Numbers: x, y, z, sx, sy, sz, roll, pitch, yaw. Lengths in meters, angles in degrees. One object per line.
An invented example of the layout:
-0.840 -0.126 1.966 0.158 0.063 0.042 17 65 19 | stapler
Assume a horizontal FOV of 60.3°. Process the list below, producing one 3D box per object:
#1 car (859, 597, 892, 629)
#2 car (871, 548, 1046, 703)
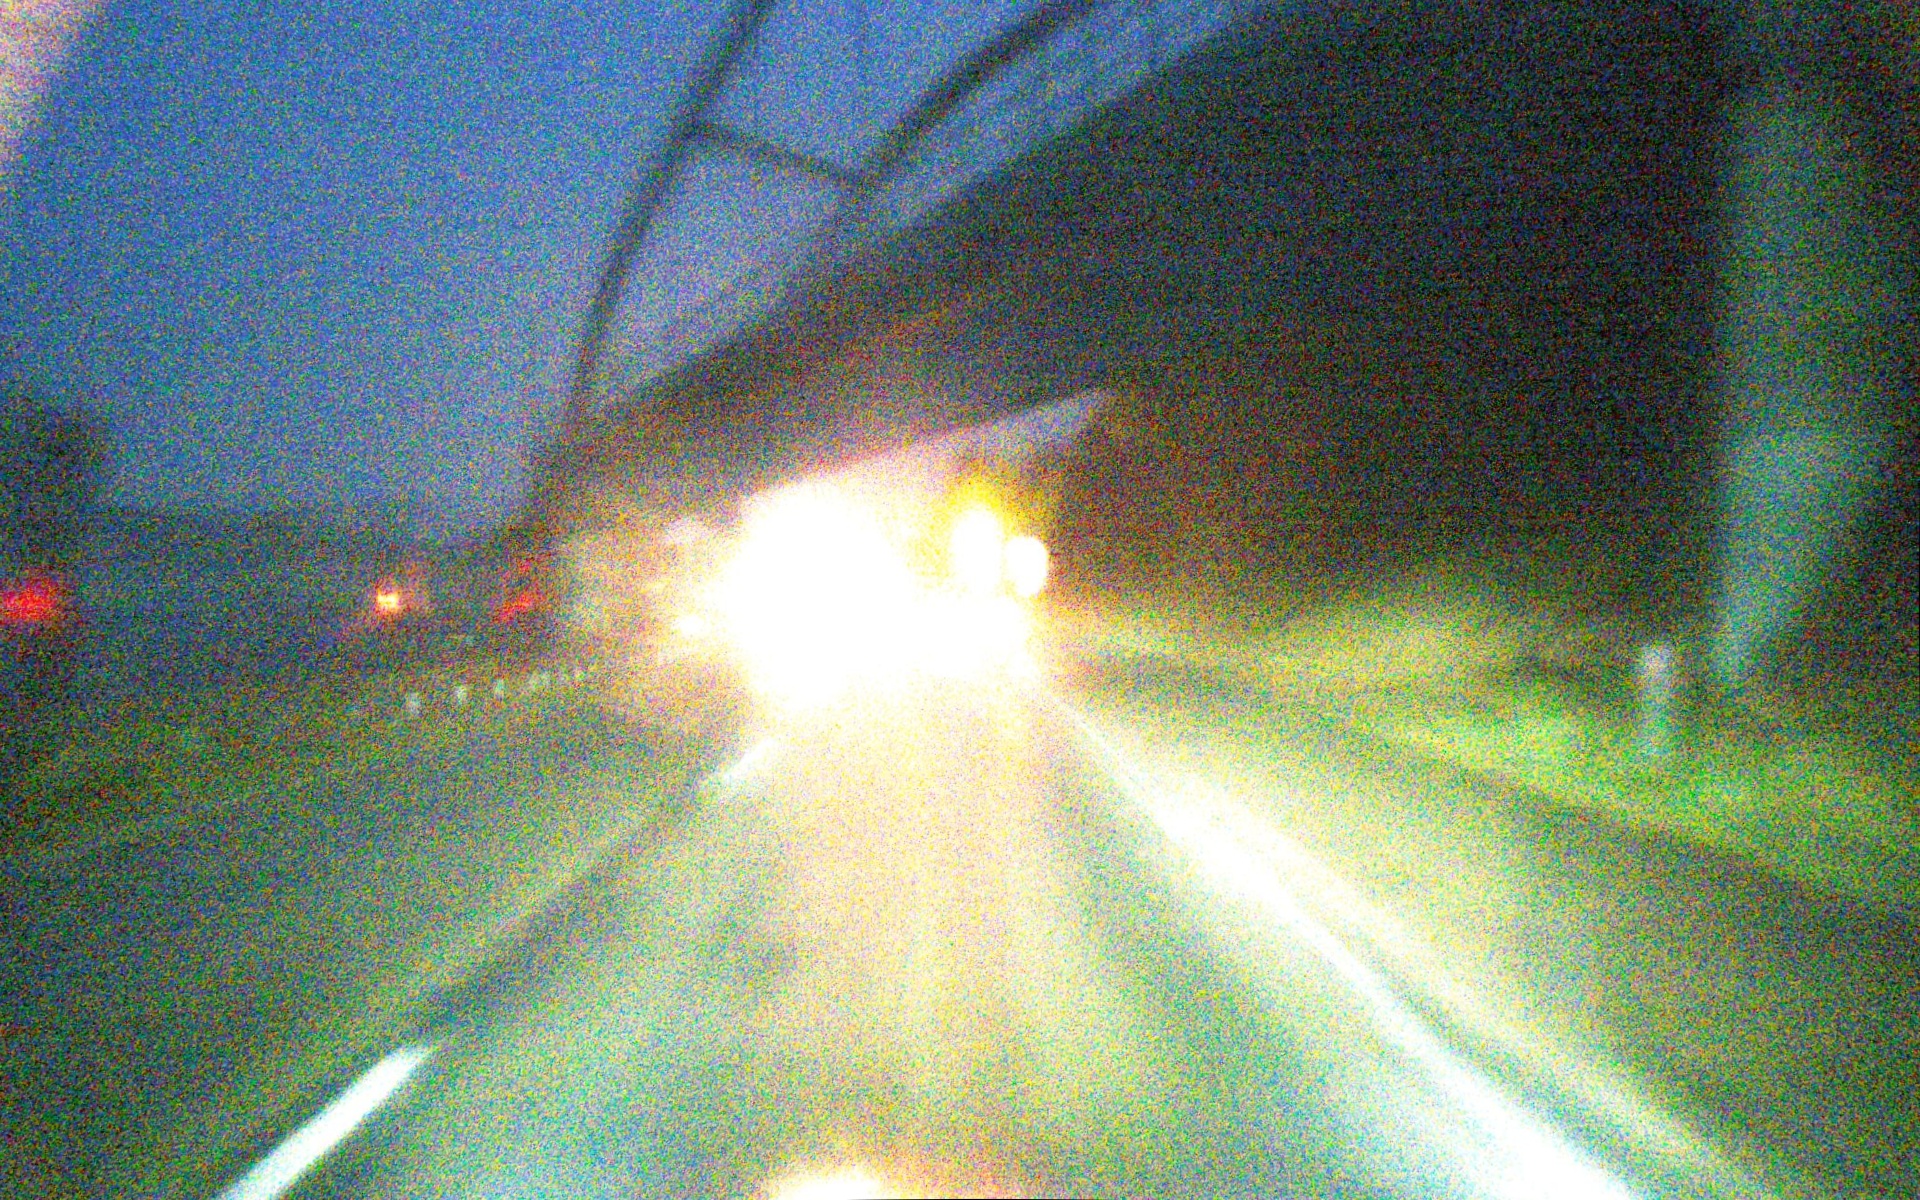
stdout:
-5.401 0.824 105.617 1.954 1.948 3.996 1 -1 -4 | car
-0.019 0.380 28.408 2.660 2.348 6.100 -1 0 0 | car
